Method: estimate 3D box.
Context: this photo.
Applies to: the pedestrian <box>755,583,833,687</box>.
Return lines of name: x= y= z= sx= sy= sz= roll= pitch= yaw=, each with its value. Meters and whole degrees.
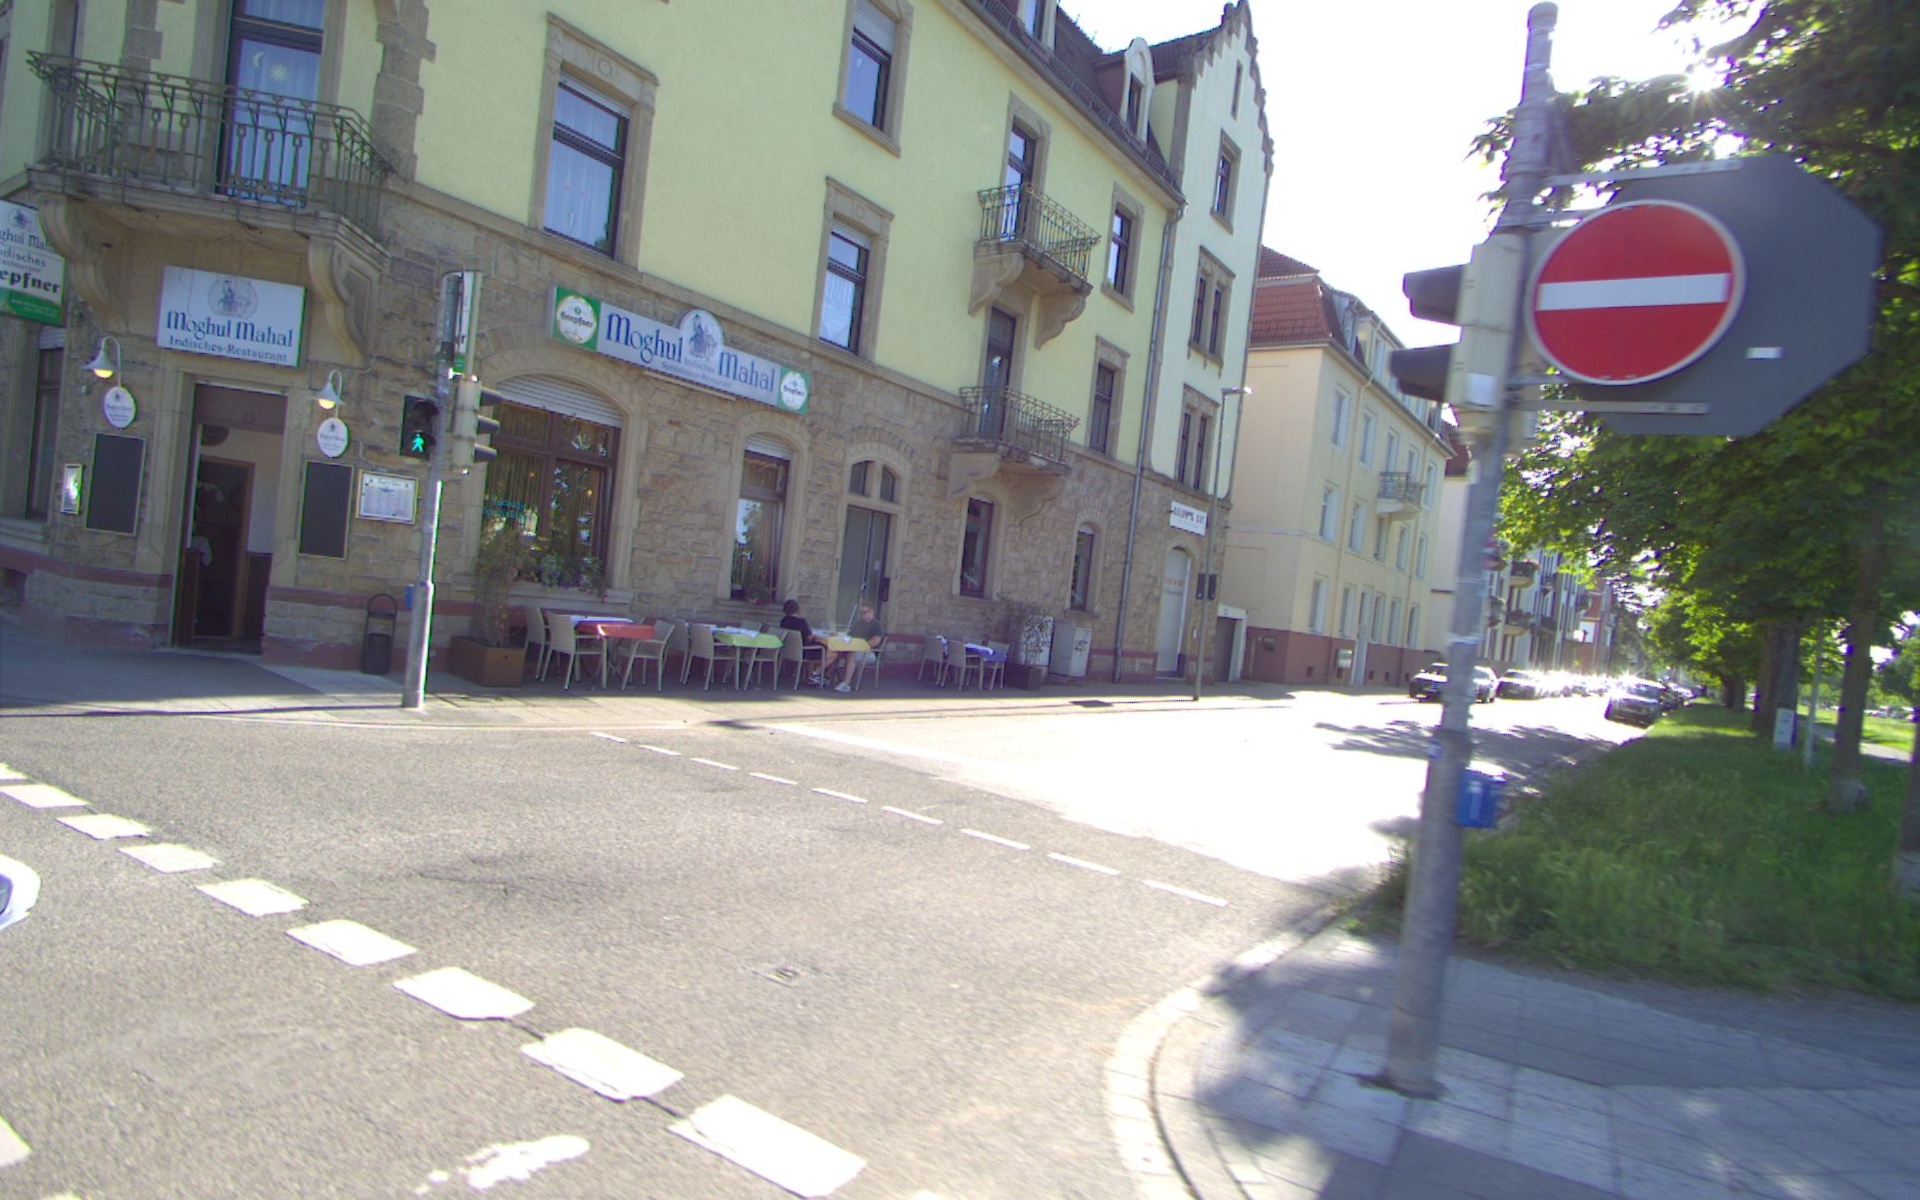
pedestrian: x=-2.393 y=0.506 z=14.496 sx=0.690 sy=1.376 sz=0.639 roll=8 pitch=0 yaw=36

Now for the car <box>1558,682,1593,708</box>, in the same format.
car: x=48.567 y=7.499 z=79.346 sx=1.710 sy=1.623 sz=3.692 roll=8 pitch=-1 yaw=40

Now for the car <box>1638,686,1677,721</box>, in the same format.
car: x=49.516 y=7.389 z=71.364 sx=1.899 sy=2.055 sz=4.648 roll=8 pitch=-1 yaw=37

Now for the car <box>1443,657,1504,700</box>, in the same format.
car: x=22.702 y=3.493 z=44.430 sx=1.708 sy=1.531 sz=3.695 roll=8 pitch=-1 yaw=36

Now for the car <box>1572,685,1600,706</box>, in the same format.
car: x=57.182 y=8.758 z=91.869 sx=1.709 sy=1.624 sz=3.692 roll=8 pitch=0 yaw=38

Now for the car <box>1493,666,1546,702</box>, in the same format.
car: x=30.286 y=4.562 z=54.426 sx=1.710 sy=1.504 sz=3.692 roll=8 pitch=-1 yaw=40

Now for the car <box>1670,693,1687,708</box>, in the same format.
car: x=89.689 y=12.540 z=125.549 sx=1.625 sy=1.537 sz=3.393 roll=8 pitch=0 yaw=36

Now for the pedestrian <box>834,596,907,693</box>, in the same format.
pedestrian: x=-1.402 y=0.704 z=15.774 sx=0.690 sy=1.376 sz=0.639 roll=10 pitch=1 yaw=36

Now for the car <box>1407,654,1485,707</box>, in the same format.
car: x=19.240 y=3.209 z=39.742 sx=1.800 sy=1.624 sz=3.841 roll=10 pitch=0 yaw=38

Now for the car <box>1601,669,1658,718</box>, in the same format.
car: x=31.442 y=4.408 z=47.185 sx=1.898 sy=1.904 sz=4.056 roll=8 pitch=-1 yaw=36

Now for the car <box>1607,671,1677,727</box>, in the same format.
car: x=28.525 y=4.148 z=42.025 sx=1.900 sy=1.904 sz=3.691 roll=8 pitch=-1 yaw=40

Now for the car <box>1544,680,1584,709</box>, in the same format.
car: x=42.397 y=6.646 z=70.625 sx=1.710 sy=1.623 sz=3.692 roll=8 pitch=-1 yaw=40

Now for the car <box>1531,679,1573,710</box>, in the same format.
car: x=39.210 y=6.262 z=66.577 sx=1.710 sy=1.623 sz=3.692 roll=8 pitch=-1 yaw=40

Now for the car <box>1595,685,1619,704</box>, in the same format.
car: x=67.722 y=9.900 z=105.298 sx=1.709 sy=1.623 sz=3.694 roll=8 pitch=-1 yaw=38
